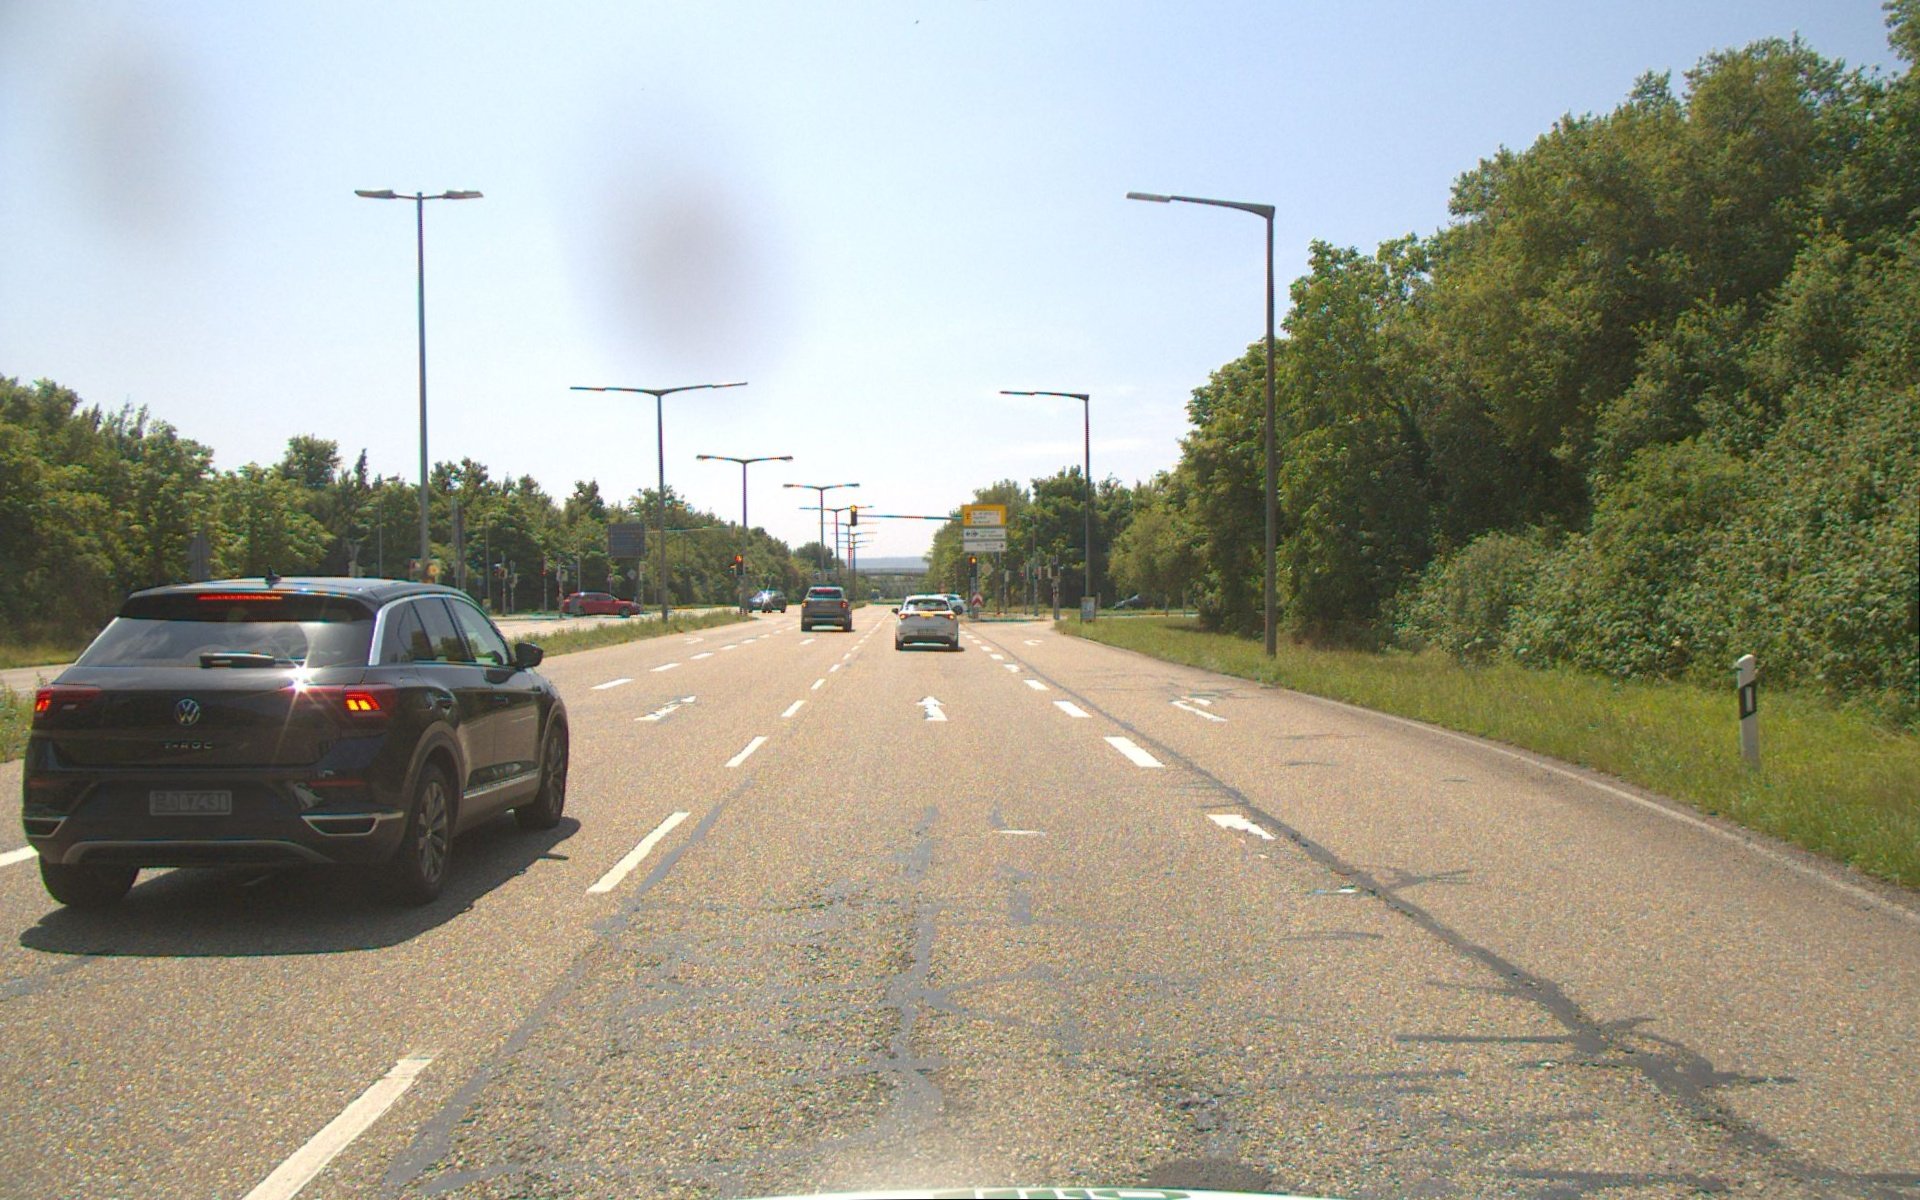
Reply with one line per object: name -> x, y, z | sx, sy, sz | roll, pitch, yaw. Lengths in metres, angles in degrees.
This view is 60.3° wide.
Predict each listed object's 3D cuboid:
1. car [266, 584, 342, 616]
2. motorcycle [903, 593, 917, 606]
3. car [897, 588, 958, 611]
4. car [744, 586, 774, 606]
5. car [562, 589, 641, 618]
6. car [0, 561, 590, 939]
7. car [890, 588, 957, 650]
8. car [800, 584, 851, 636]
car -> -38.983, -0.018, 98.366 | 3.919, 1.862, 1.993 | 1, 0, -14
motorcycle -> -5.123, -0.016, 170.087 | 1.395, 1.303, 2.568 | -2, 0, -2
car -> -2.264, -0.039, 114.260 | 4.026, 1.552, 1.934 | 0, 0, -10
car -> -15.608, -0.300, 128.484 | 1.790, 1.545, 4.000 | 1, 0, 1
car -> -21.066, 0.187, 97.408 | 4.440, 1.670, 1.973 | 1, 0, -10
car -> -3.277, 0.636, 8.953 | 1.720, 1.583, 3.999 | 0, 0, -1
car -> -0.969, 0.506, 45.541 | 1.760, 1.611, 3.999 | 0, 0, -1
car -> -5.257, 0.394, 65.013 | 1.720, 1.962, 3.999 | 0, 0, -1
